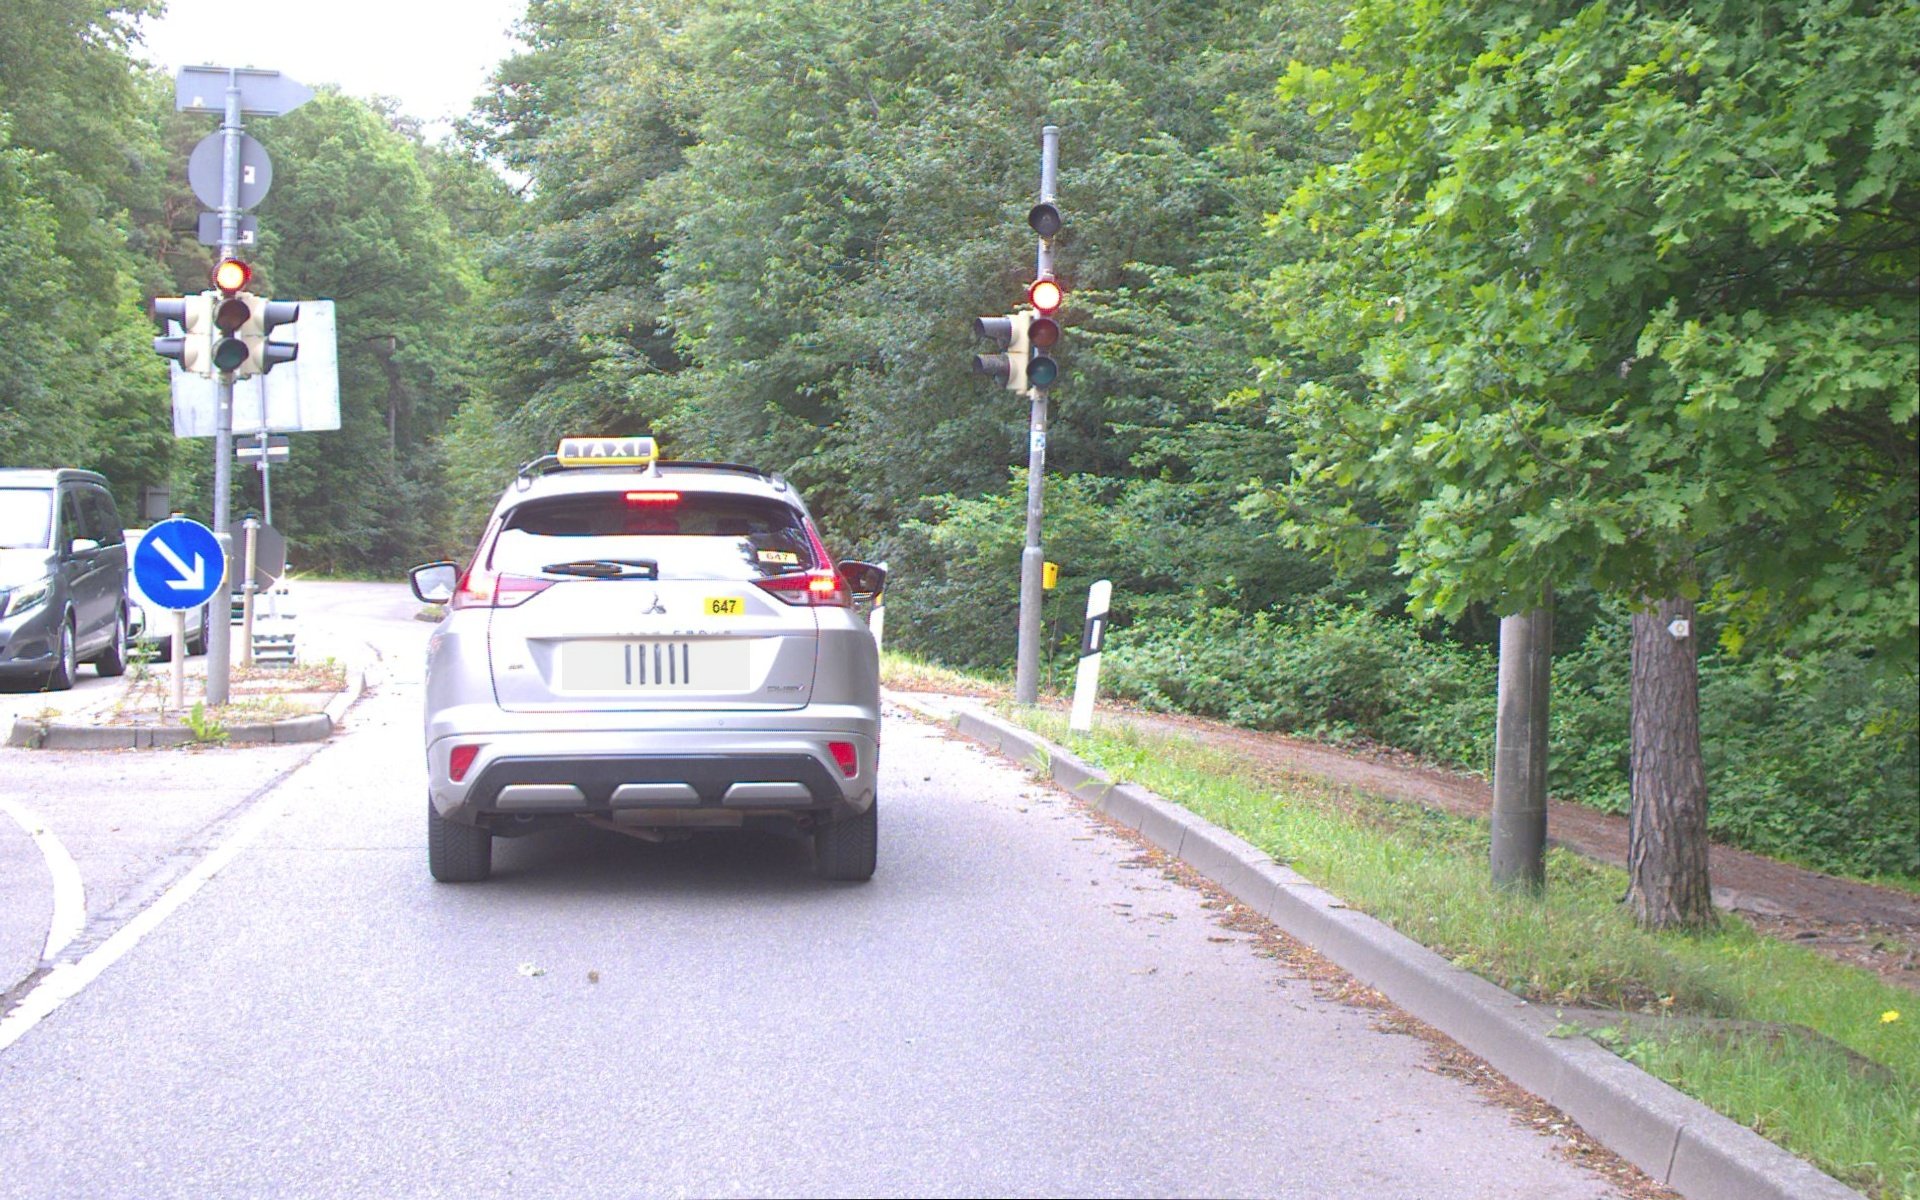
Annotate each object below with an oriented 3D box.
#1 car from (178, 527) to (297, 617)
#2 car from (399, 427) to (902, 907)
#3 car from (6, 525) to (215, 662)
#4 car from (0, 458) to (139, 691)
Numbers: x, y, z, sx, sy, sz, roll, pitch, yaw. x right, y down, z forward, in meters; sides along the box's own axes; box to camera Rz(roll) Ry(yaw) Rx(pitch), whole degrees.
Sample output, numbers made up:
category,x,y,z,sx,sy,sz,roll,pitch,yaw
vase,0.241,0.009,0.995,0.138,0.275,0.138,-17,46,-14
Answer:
category,x,y,z,sx,sy,sz,roll,pitch,yaw
car,-12.854,-0.510,61.324,1.811,1.503,3.722,-2,1,-8
car,-1.347,0.191,14.786,1.846,1.774,4.001,1,2,-6
car,-9.219,-0.109,37.537,1.612,1.316,3.722,-2,2,-5
car,-8.596,-0.227,30.371,1.993,1.887,4.840,-1,1,-6
